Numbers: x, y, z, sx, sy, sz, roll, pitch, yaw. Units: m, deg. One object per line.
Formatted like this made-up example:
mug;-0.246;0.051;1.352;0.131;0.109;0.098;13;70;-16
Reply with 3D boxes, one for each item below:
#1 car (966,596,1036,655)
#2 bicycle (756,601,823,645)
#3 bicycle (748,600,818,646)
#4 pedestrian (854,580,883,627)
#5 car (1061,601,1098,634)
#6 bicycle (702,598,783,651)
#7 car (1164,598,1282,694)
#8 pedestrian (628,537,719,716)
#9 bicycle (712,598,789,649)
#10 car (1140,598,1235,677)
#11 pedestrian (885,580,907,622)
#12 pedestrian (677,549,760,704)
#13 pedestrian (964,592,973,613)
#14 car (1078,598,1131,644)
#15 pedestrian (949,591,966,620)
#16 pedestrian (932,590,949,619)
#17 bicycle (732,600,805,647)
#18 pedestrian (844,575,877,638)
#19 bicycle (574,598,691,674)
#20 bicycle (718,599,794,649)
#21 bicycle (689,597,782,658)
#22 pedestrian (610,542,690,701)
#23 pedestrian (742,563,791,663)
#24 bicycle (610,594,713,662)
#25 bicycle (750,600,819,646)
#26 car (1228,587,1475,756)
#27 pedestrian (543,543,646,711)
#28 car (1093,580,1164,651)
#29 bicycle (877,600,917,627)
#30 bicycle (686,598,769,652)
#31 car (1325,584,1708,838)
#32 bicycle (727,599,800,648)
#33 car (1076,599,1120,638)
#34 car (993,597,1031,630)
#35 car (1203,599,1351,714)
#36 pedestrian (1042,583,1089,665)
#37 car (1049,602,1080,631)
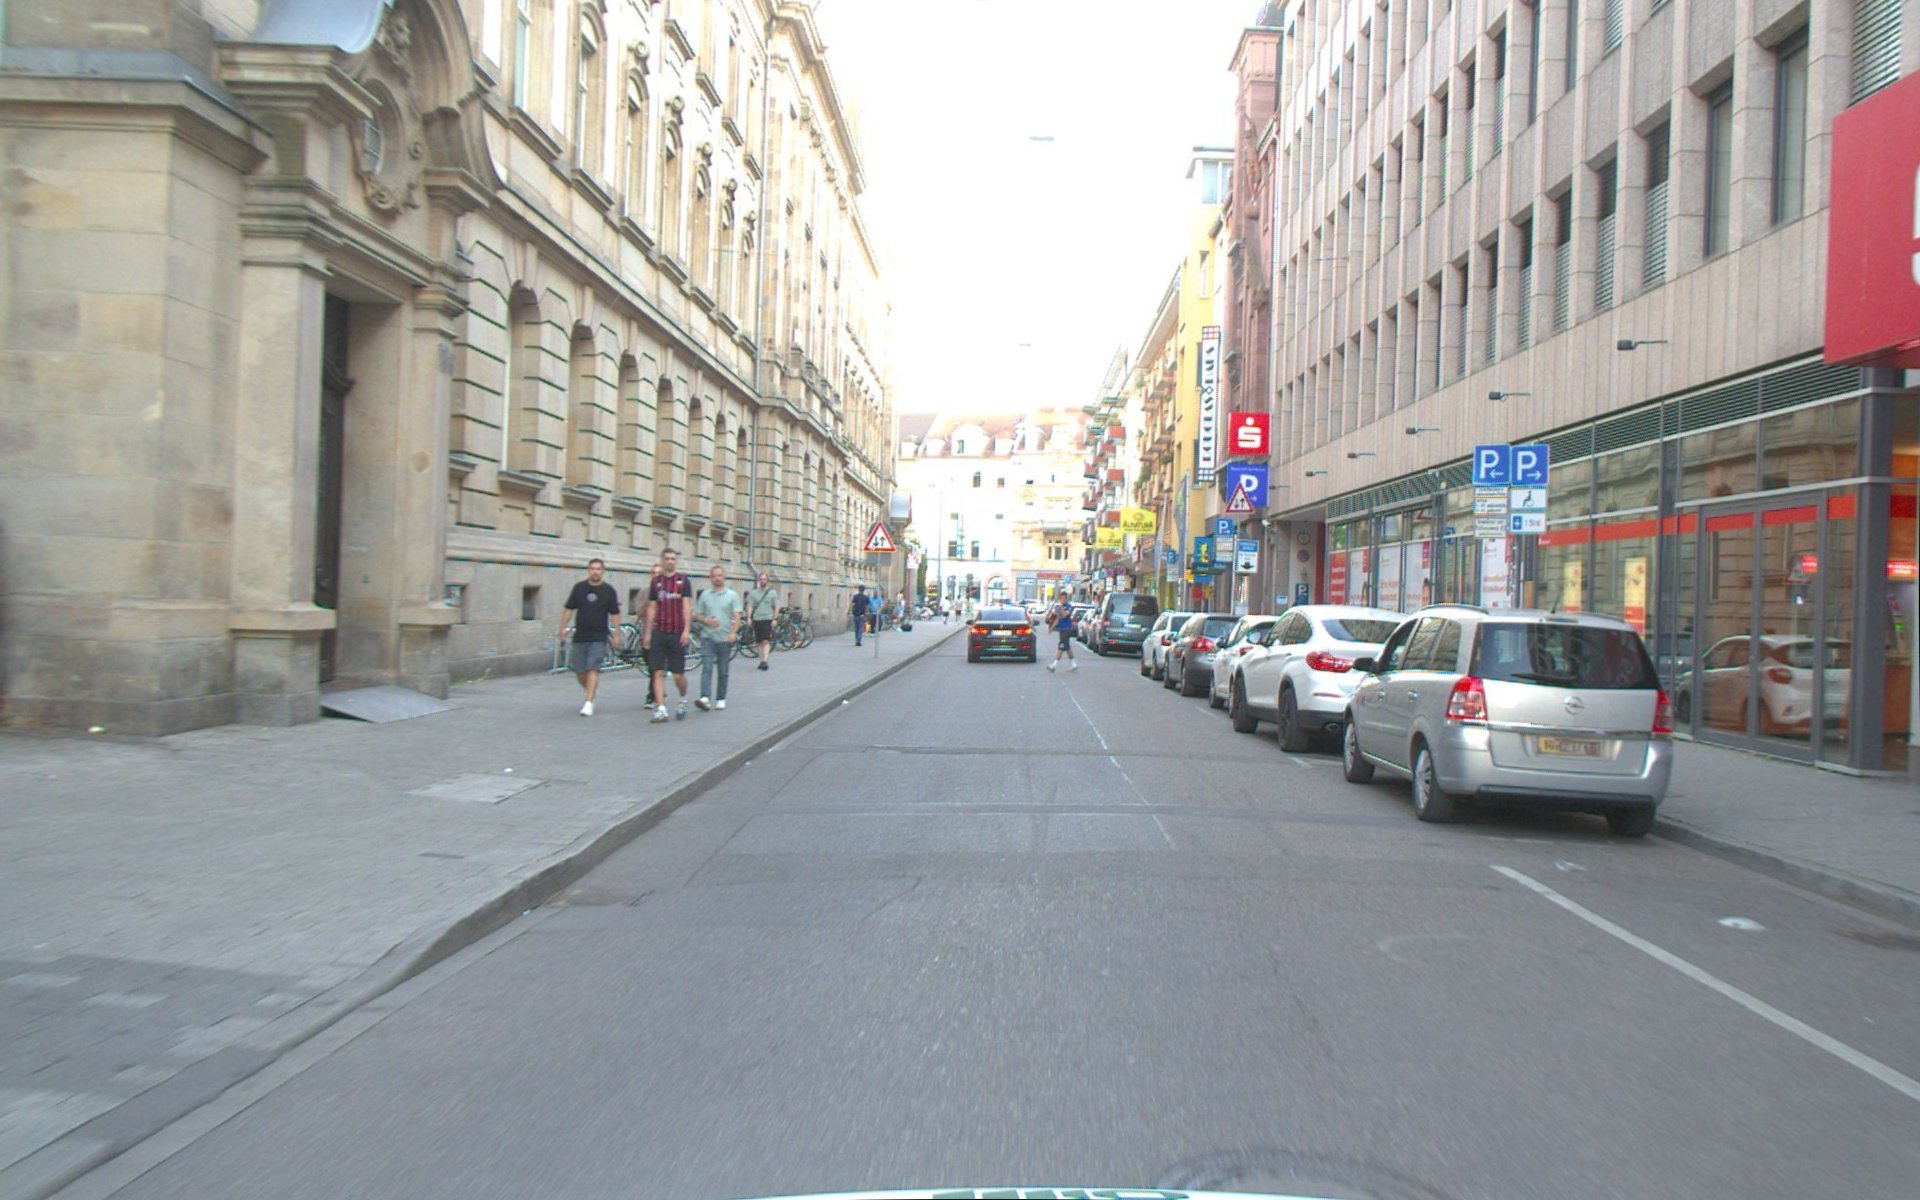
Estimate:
car;1.064;0.646;43.437;1.733;1.433;4.052;1;0;1
bicycle;-4.466;0.592;43.277;1.645;1.059;0.487;3;0;0
bicycle;-4.429;0.581;41.525;1.645;1.059;0.487;3;0;0
pedestrian;-3.349;0.121;60.877;0.914;1.664;0.654;5;0;-1
car;5.970;0.874;83.143;1.610;1.549;3.285;3;0;1
bicycle;-4.780;0.538;36.401;1.645;1.059;0.487;3;0;0
car;4.738;0.791;30.195;1.610;1.549;3.285;3;0;1
pedestrian;-3.096;0.282;17.966;0.683;1.843;0.975;5;0;-1
bicycle;-4.786;0.542;37.836;1.645;1.059;0.487;3;0;0
car;4.941;0.789;36.289;1.610;1.549;3.285;3;0;1
pedestrian;-2.809;0.065;73.162;0.791;1.782;0.936;5;0;0
pedestrian;-2.904;0.313;19.967;0.771;1.782;0.721;5;0;-1
pedestrian;0.708;0.224;140.483;0.652;1.782;0.681;5;0;-2
car;5.264;0.737;60.509;1.610;1.549;3.285;3;0;1
pedestrian;-0.170;0.328;106.082;0.915;1.782;0.810;5;0;-2
pedestrian;-1.267;0.289;105.568;0.915;1.782;0.810;5;0;-2
bicycle;-4.649;0.567;40.196;1.645;1.059;0.487;3;0;0
pedestrian;-2.902;0.192;48.452;0.787;1.782;0.810;5;0;-1
bicycle;-5.020;0.550;25.370;1.644;1.059;0.487;3;0;7
bicycle;-4.740;0.546;38.505;1.645;1.059;0.487;3;0;0
bicycle;-4.300;0.517;31.730;1.645;1.059;0.487;3;0;0
pedestrian;-3.655;0.250;19.525;0.675;1.782;0.721;5;0;-1
pedestrian;-3.590;0.233;30.764;0.704;1.782;0.668;5;0;-1
bicycle;-5.089;0.474;28.205;1.652;1.059;0.485;3;0;-16
bicycle;-4.459;0.584;41.990;1.645;1.059;0.487;3;0;0
car;4.425;0.743;19.307;1.734;1.664;4.089;3;0;-2
pedestrian;-3.952;0.285;17.942;0.781;1.704;0.975;5;0;-1
car;5.351;0.475;52.924;1.832;2.053;3.766;3;0;1
bicycle;-2.820;0.593;74.095;1.645;1.059;0.487;5;0;2
bicycle;-4.928;0.525;35.134;1.645;1.059;0.487;3;0;0
car;4.314;0.766;13.528;1.733;1.664;4.052;3;0;1
bicycle;-4.718;0.562;39.742;1.645;1.059;0.487;3;0;0
car;5.911;0.786;70.989;1.610;1.549;3.285;3;0;1
car;2.630;0.672;84.370;1.757;1.536;4.000;2;0;0
car;4.759;0.802;25.191;1.610;1.549;3.285;3;0;1
pedestrian;2.353;0.531;36.989;0.808;1.822;0.722;1;0;-19
car;6.140;0.960;97.463;1.610;1.549;3.285;3;0;1
